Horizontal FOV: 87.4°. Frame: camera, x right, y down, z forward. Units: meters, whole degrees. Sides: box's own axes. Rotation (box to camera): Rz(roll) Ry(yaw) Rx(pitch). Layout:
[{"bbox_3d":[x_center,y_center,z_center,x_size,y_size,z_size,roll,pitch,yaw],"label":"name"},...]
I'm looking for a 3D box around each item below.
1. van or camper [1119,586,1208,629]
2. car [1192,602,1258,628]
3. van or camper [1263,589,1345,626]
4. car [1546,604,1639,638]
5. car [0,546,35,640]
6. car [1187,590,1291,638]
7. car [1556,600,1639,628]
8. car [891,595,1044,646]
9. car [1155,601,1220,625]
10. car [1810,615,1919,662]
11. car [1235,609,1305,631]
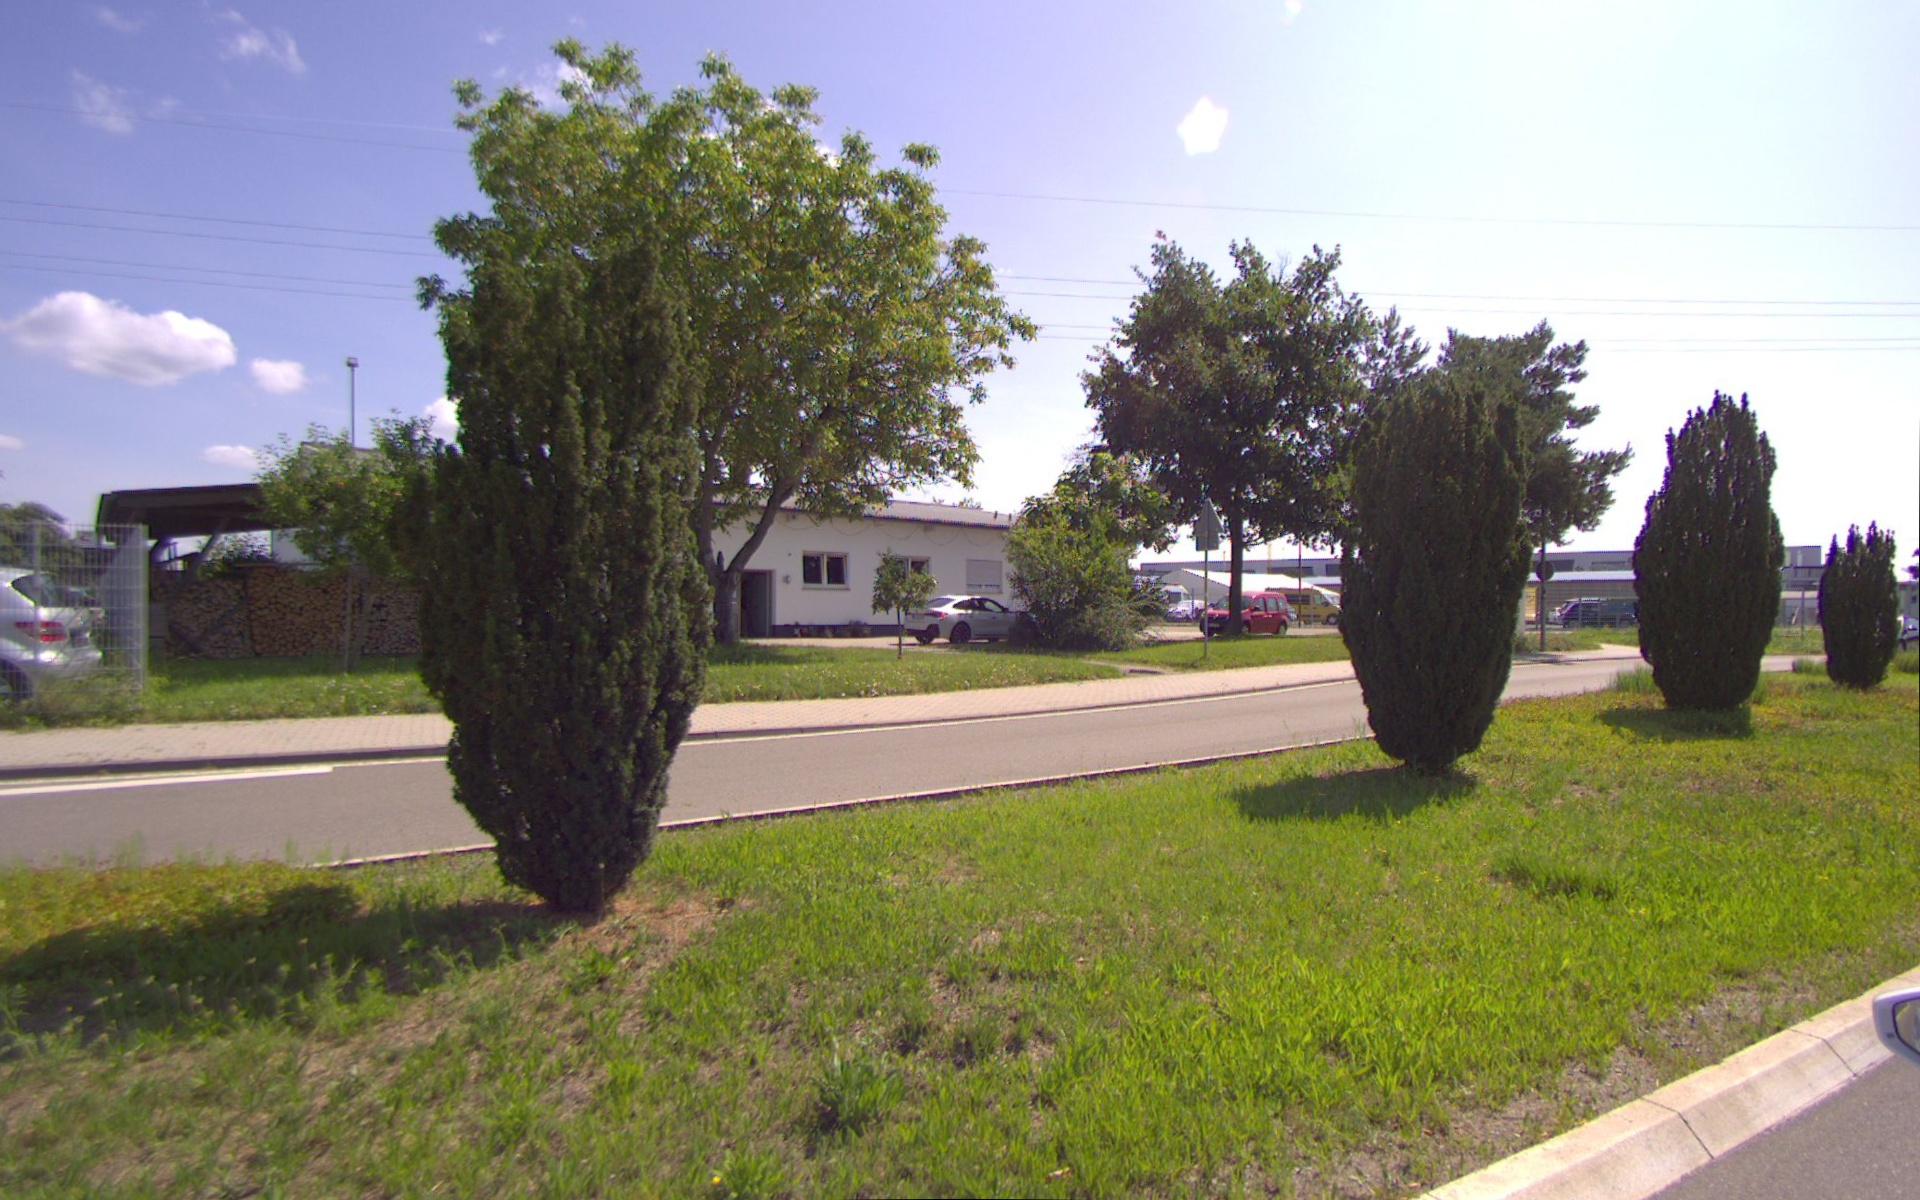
[{"bbox_3d":[13.291,0.492,65.237,6.715,2.634,1.977,1,0,-40],"label":"van or camper"},{"bbox_3d":[15.741,0.868,59.606,3.967,1.452,1.903,1,0,-40],"label":"car"},{"bbox_3d":[23.467,0.499,68.524,5.236,2.407,1.894,0,-1,21],"label":"van or camper"},{"bbox_3d":[34.595,1.149,55.026,4.029,1.727,1.723,1,-1,21],"label":"car"},{"bbox_3d":[-16.808,-0.137,15.227,3.967,1.461,1.977,1,-1,-40],"label":"car"},{"bbox_3d":[10.854,0.548,38.974,4.197,1.768,1.975,1,-1,-42],"label":"car"},{"bbox_3d":[33.429,0.718,52.759,3.504,1.420,1.799,1,0,27],"label":"car"},{"bbox_3d":[0.287,0.617,30.511,4.480,1.427,1.976,1,-1,-41],"label":"car"},{"bbox_3d":[13.953,0.796,61.655,3.967,1.452,1.903,1,0,-40],"label":"car"},{"bbox_3d":[29.829,1.225,32.713,4.809,1.412,1.889,1,-1,-31],"label":"car"},{"bbox_3d":[20.172,1.288,65.413,1.982,1.327,3.956,1,0,-38],"label":"car"}]
